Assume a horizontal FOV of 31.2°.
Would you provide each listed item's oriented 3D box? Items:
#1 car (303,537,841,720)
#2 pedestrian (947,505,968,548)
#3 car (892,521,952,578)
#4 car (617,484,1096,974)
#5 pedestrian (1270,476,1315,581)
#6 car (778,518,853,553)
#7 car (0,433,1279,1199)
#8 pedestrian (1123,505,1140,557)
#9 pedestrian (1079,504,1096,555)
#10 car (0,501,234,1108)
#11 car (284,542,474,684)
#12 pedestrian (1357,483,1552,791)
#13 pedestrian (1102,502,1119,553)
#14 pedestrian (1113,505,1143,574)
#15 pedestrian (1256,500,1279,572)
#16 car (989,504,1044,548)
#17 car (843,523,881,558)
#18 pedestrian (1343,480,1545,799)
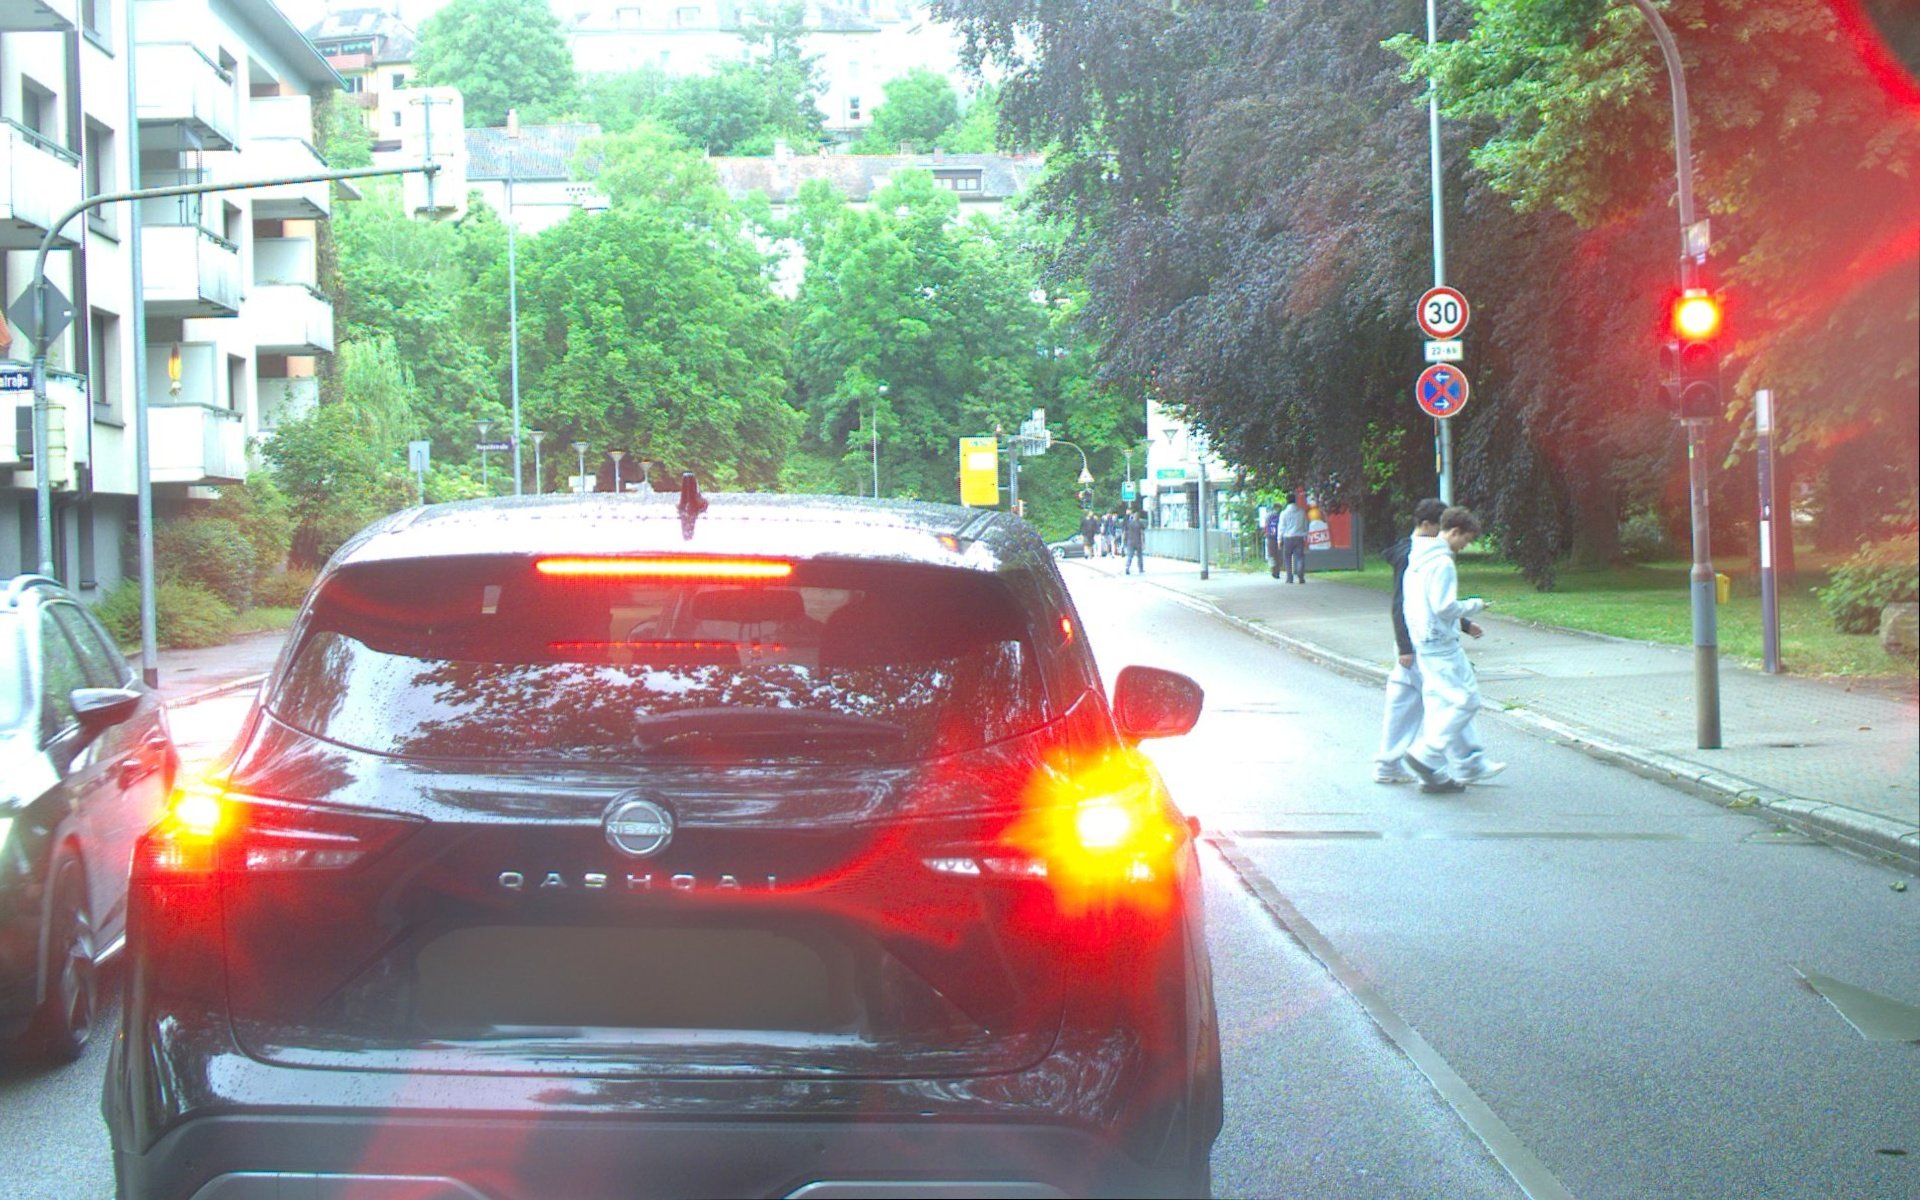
[{"bbox_3d":[-3.447,0.222,31.203,4.638,1.399,1.831,-3,2,-43],"label":"car"},{"bbox_3d":[-0.095,-2.874,135.127,0.509,1.667,0.658,-2,1,27],"label":"pedestrian"},{"bbox_3d":[-1.083,-1.458,98.640,1.634,1.527,3.968,-2,1,-1],"label":"car"},{"bbox_3d":[-0.399,0.435,14.454,1.698,1.739,3.641,-2,1,-1],"label":"car"},{"bbox_3d":[6.501,-1.398,67.208,0.725,2.007,0.851,-2,1,0],"label":"pedestrian"},{"bbox_3d":[-6.915,-3.113,164.977,1.637,1.527,3.961,-1,1,31],"label":"car"},{"bbox_3d":[-0.513,0.555,7.011,1.913,1.674,4.000,0,1,0],"label":"car"},{"bbox_3d":[6.060,-2.444,121.424,0.508,1.796,0.619,-2,1,-2],"label":"pedestrian"},{"bbox_3d":[4.530,-2.511,121.966,0.508,1.796,0.619,-2,1,-1],"label":"pedestrian"},{"bbox_3d":[-3.588,0.545,11.166,1.845,1.620,4.138,-2,1,-5],"label":"car"},{"bbox_3d":[-6.843,0.111,40.829,1.795,1.528,3.868,-2,1,-4],"label":"car"},{"bbox_3d":[3.058,0.214,21.313,1.035,1.869,0.658,0,2,-11],"label":"pedestrian"},{"bbox_3d":[5.300,-2.555,121.089,0.508,1.796,0.659,-2,1,1],"label":"pedestrian"},{"bbox_3d":[4.368,-1.573,89.644,0.508,1.796,0.620,-2,1,-22],"label":"pedestrian"},{"bbox_3d":[6.430,-1.342,71.889,0.390,1.497,0.559,-2,1,0],"label":"pedestrian"},{"bbox_3d":[2.334,-3.044,141.540,1.994,1.729,3.999,1,1,4],"label":"car"},{"bbox_3d":[-4.500,-2.761,158.890,1.634,1.527,3.968,-2,1,-1],"label":"car"},{"bbox_3d":[2.886,0.220,20.561,1.035,1.869,0.658,0,2,-11],"label":"pedestrian"}]
